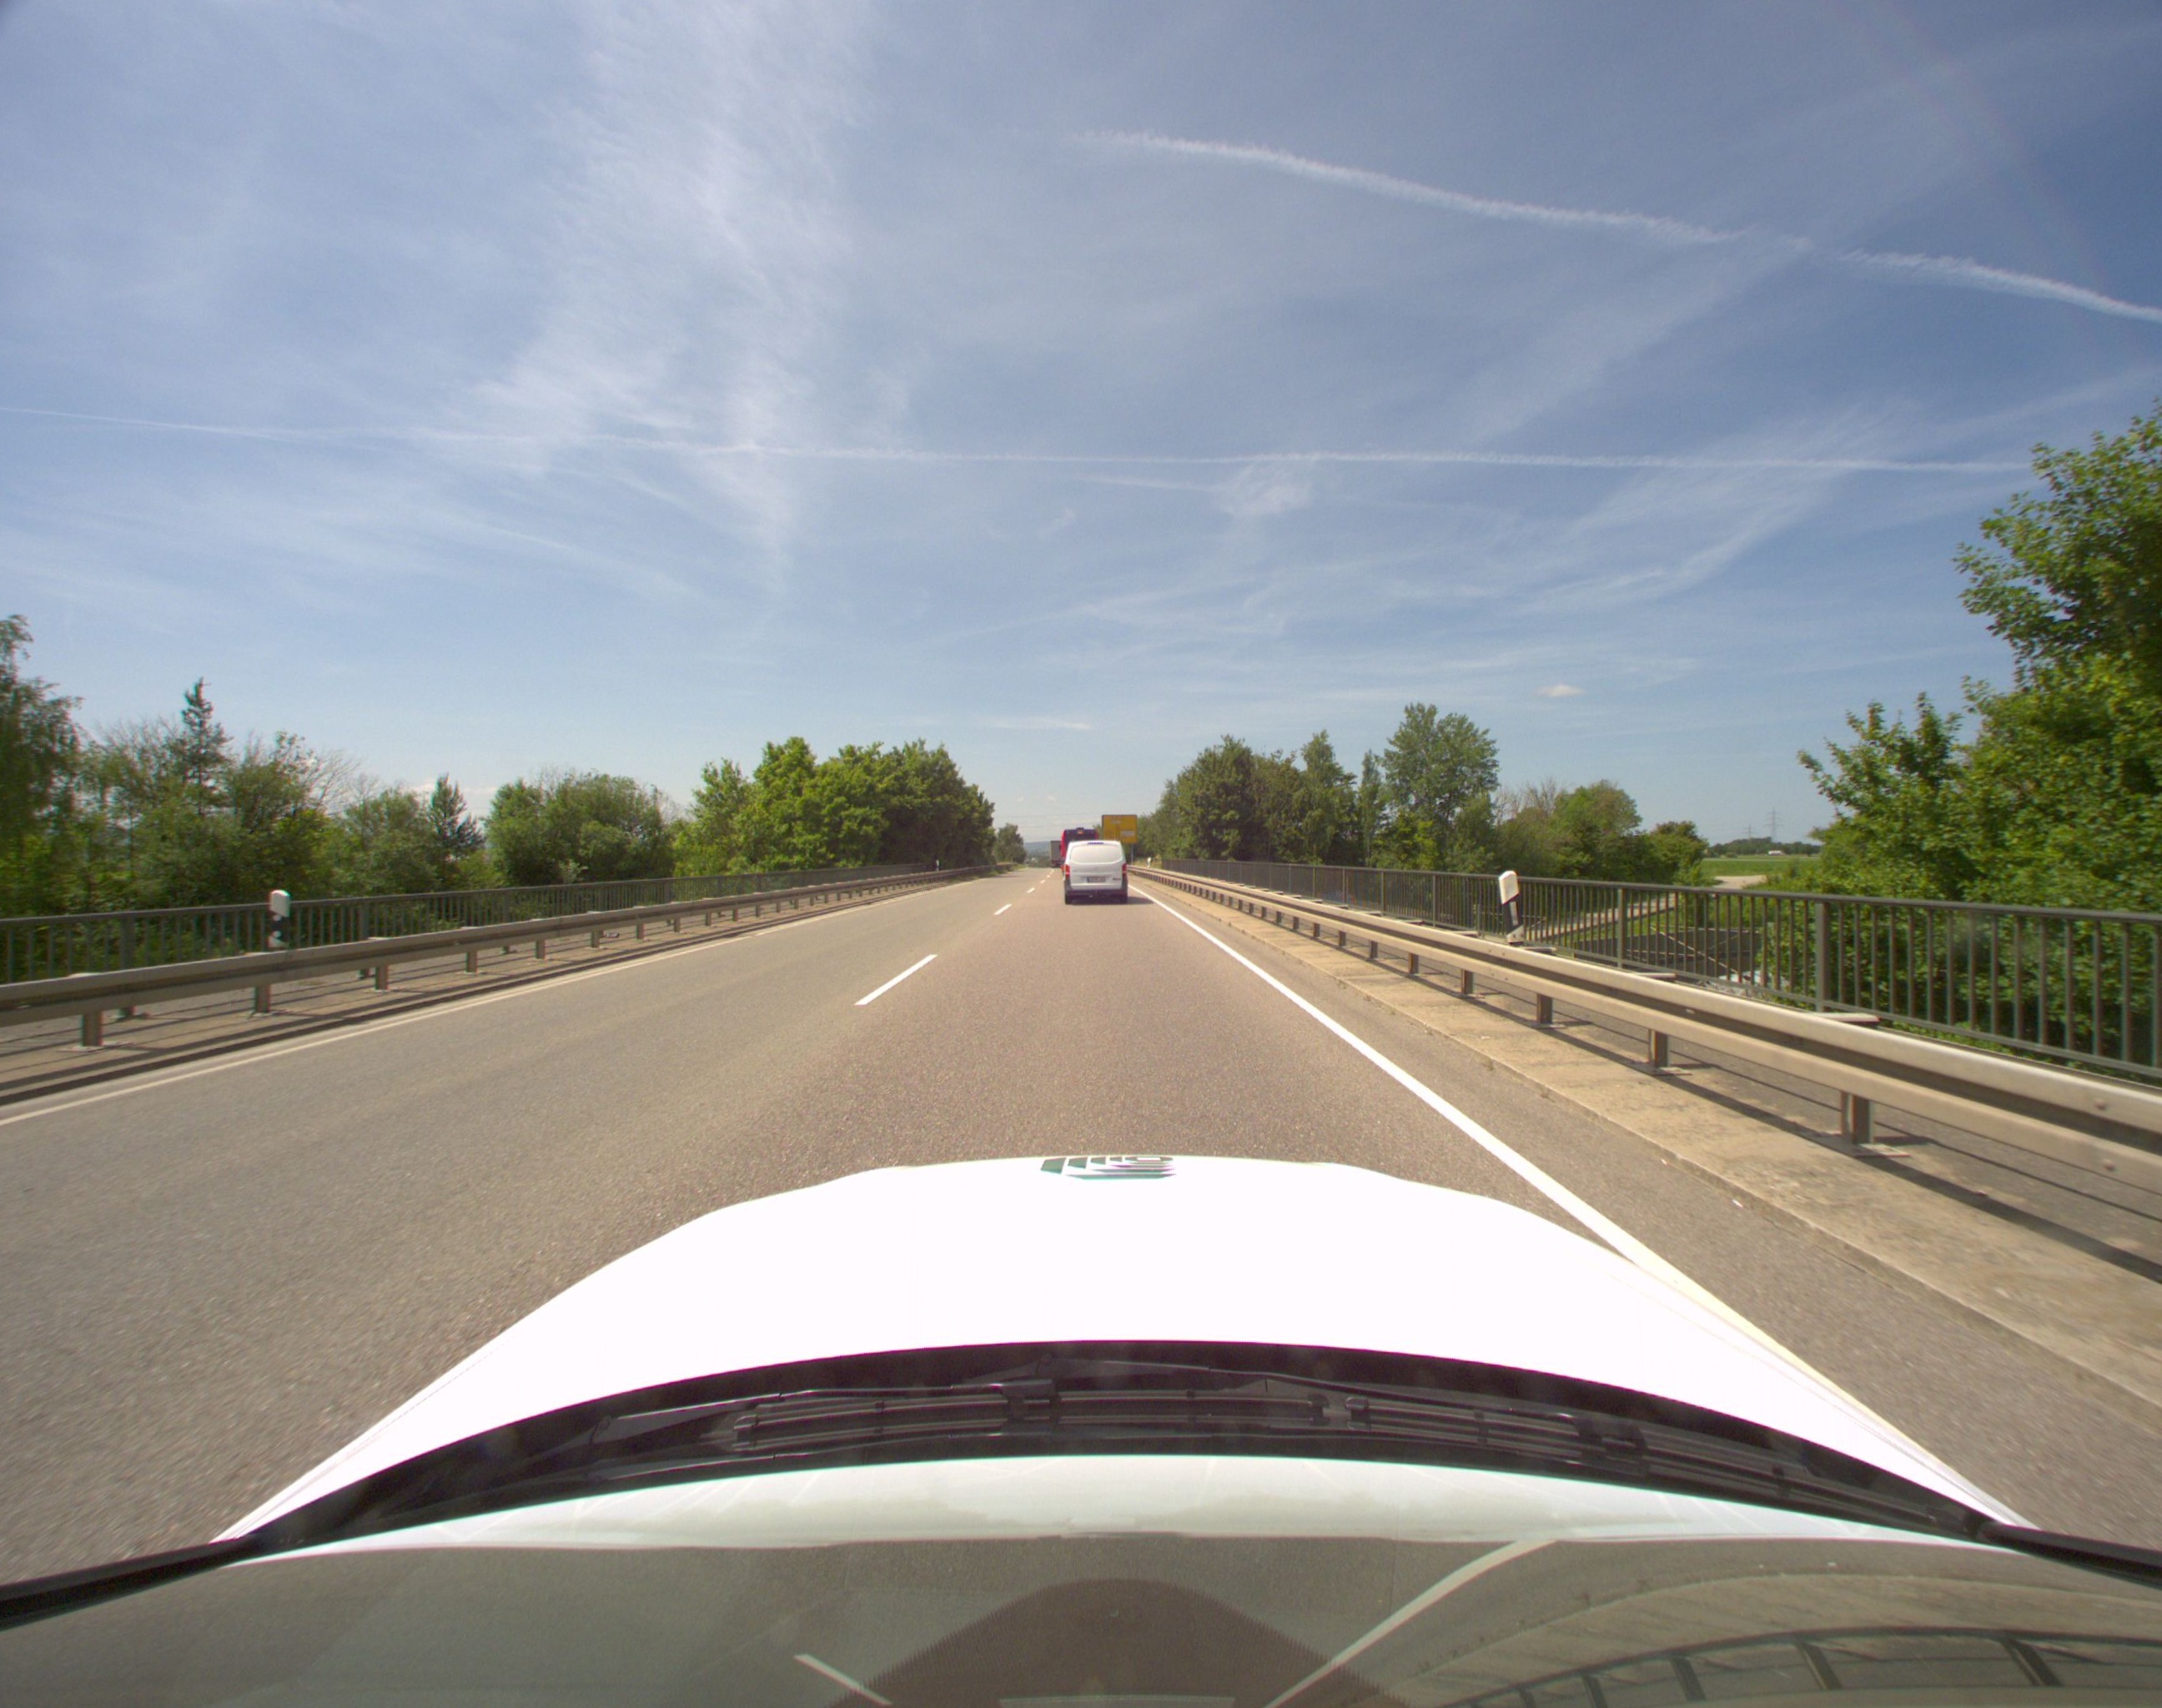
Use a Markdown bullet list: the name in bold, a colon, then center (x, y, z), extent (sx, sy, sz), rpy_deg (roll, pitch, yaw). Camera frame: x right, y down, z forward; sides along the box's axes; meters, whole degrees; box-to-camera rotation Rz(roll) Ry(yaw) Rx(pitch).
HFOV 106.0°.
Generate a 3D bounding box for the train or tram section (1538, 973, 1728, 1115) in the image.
- **train or tram section**: center (24.833, 8.062, 36.224), extent (12.499, 4.230, 2.527), rpy_deg (0, 0, -34)

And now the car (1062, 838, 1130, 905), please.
- **car**: center (0.421, 0.487, 25.243), extent (1.917, 1.889, 3.999), rpy_deg (-1, 0, 0)

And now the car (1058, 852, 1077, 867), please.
- **car**: center (-1.687, 0.663, 101.366), extent (1.991, 1.816, 3.991), rpy_deg (-1, 0, -7)

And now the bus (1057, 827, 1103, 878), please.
- **bus**: center (-0.257, -0.121, 60.905), extent (2.741, 3.353, 13.207), rpy_deg (-2, 0, -3)

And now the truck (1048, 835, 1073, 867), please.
- **truck**: center (-3.115, -0.483, 124.891), extent (3.479, 4.423, 14.892), rpy_deg (-2, 0, -2)
